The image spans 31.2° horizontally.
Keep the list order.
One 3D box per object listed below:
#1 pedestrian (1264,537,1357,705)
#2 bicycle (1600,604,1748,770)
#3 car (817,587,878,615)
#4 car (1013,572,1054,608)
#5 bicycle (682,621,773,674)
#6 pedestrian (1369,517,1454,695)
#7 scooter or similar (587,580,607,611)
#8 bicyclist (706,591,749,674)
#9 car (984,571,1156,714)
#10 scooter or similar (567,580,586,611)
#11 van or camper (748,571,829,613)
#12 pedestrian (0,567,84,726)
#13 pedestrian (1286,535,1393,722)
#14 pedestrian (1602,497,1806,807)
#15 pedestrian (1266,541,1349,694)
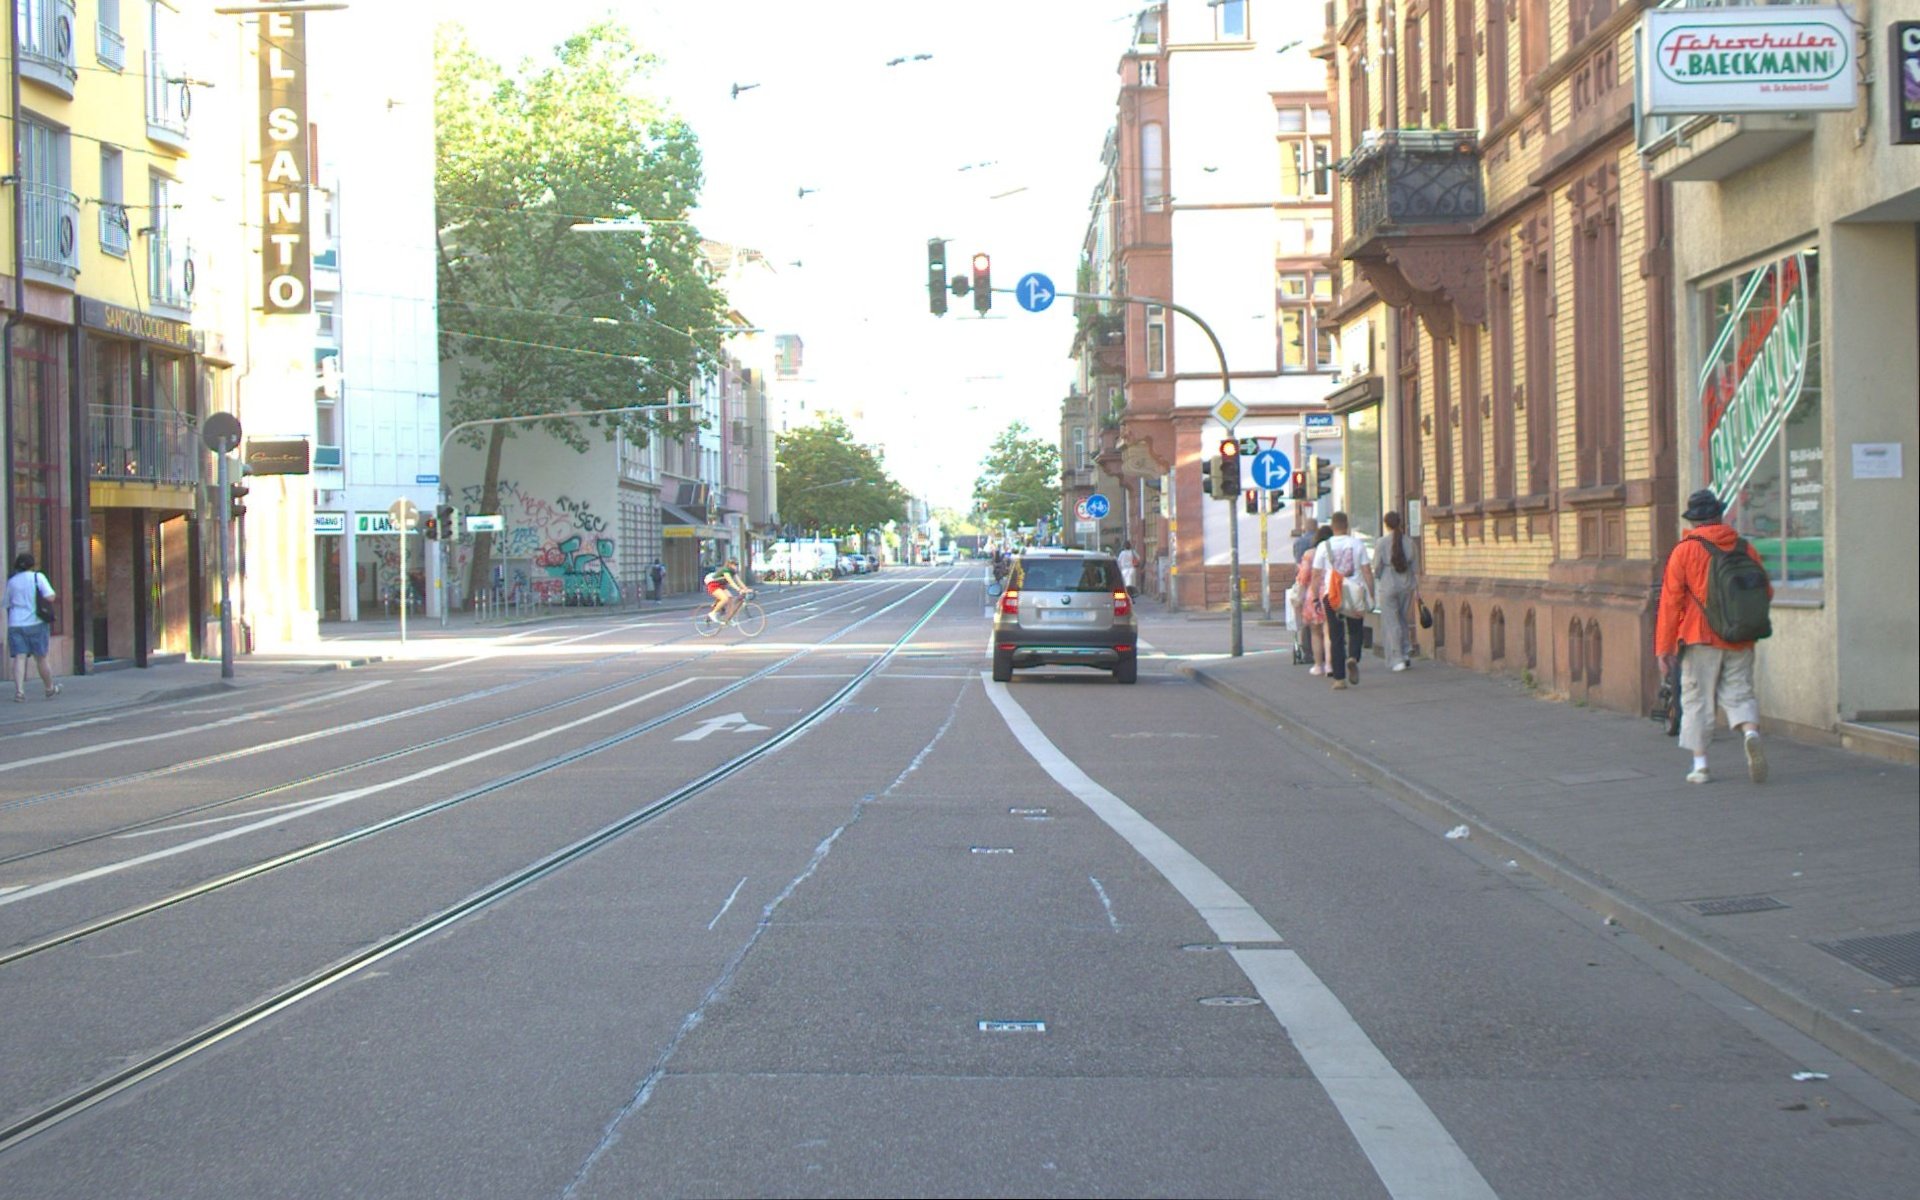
[{"bbox_3d":[3.909,0.224,38.405,0.805,1.794,0.761,-5,1,-1],"label":"pedestrian"},{"bbox_3d":[5.022,0.590,24.305,0.555,1.057,2.311,-3,1,1],"label":"bicycle"},{"bbox_3d":[-8.261,0.073,252.372,3.986,2.007,2.000,-1,1,-24],"label":"car"},{"bbox_3d":[3.566,-0.490,166.107,1.950,1.678,4.000,-1,1,2],"label":"car"},{"bbox_3d":[-4.631,0.949,68.515,1.714,1.031,0.599,1,-1,6],"label":"bicycle"},{"bbox_3d":[5.002,0.057,38.111,0.690,1.902,0.670,-5,1,-1],"label":"pedestrian"},{"bbox_3d":[-12.403,-0.165,117.517,0.516,1.053,1.478,-1,1,-1],"label":"scooter or similar"},{"bbox_3d":[-4.640,0.649,68.534,0.740,1.628,0.608,1,-1,5],"label":"bicyclist"},{"bbox_3d":[1.335,0.495,43.313,1.993,1.612,4.000,3,1,0],"label":"car"},{"bbox_3d":[-13.104,-0.154,117.493,0.516,1.042,1.478,-1,1,-1],"label":"scooter or similar"},{"bbox_3d":[-10.773,-0.512,215.904,4.634,2.554,2.000,0,0,-30],"label":"van or camper"},{"bbox_3d":[-10.974,0.541,40.836,0.751,1.812,1.046,4,1,1],"label":"pedestrian"},{"bbox_3d":[3.839,0.273,34.851,0.805,1.794,1.092,-5,1,-1],"label":"pedestrian"},{"bbox_3d":[4.165,0.279,19.305,0.798,1.622,0.825,-7,1,1],"label":"pedestrian"},{"bbox_3d":[4.277,0.210,42.358,0.805,1.794,0.761,-5,1,1],"label":"pedestrian"}]
